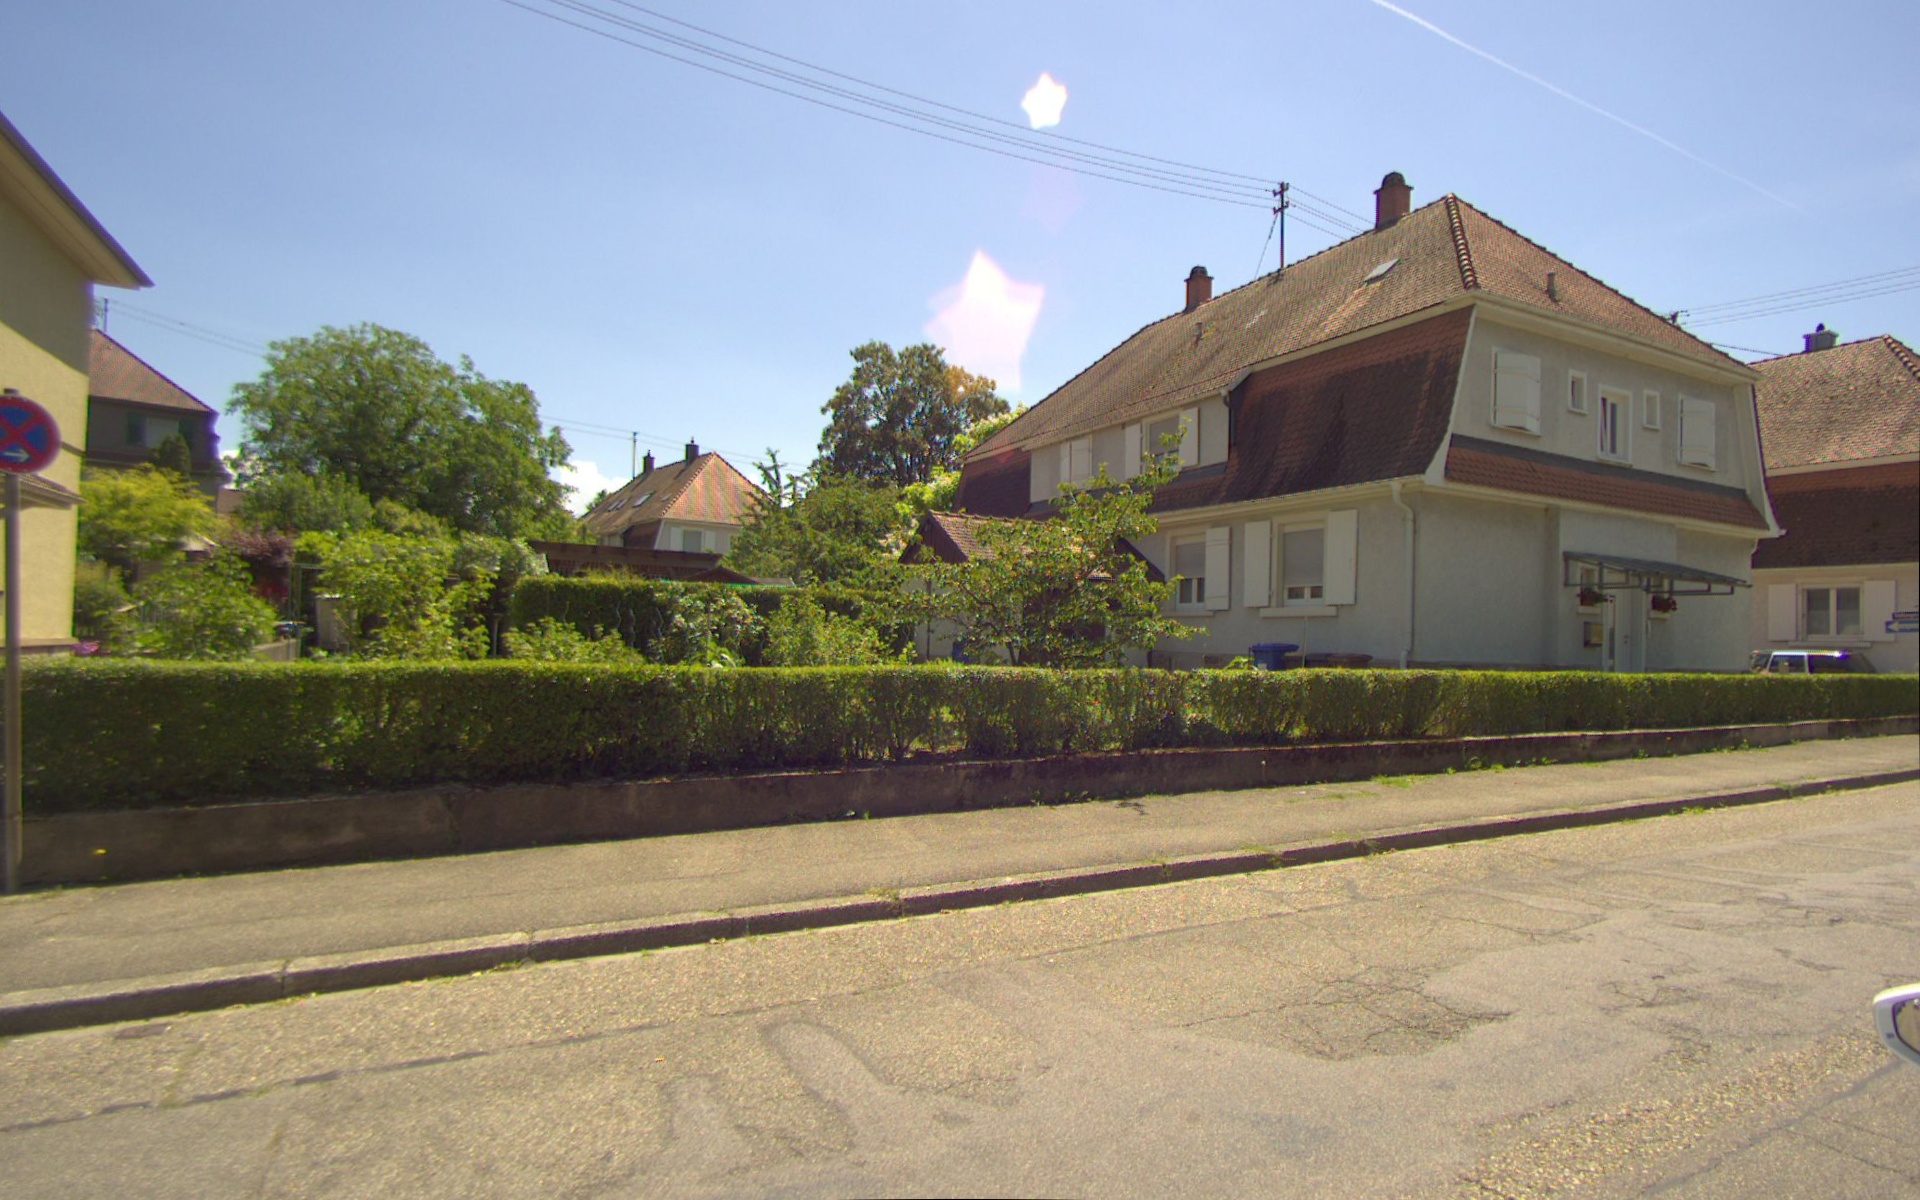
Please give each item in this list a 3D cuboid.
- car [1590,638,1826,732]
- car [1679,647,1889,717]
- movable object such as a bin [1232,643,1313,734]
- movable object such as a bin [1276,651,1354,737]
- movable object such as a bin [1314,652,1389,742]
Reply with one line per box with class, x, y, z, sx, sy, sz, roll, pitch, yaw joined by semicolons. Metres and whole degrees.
car;16.739;1.834;22.688;1.856;1.930;3.853;2;-3;-27
car;21.433;2.076;26.298;1.856;1.663;3.853;2;-3;-27
movable object such as a bin;5.362;1.499;17.243;0.997;1.492;0.873;2;-2;-30
movable object such as a bin;5.822;1.525;16.503;0.909;1.339;0.815;2;-2;-30
movable object such as a bin;6.150;1.504;15.793;0.909;1.339;0.686;2;-2;-30
